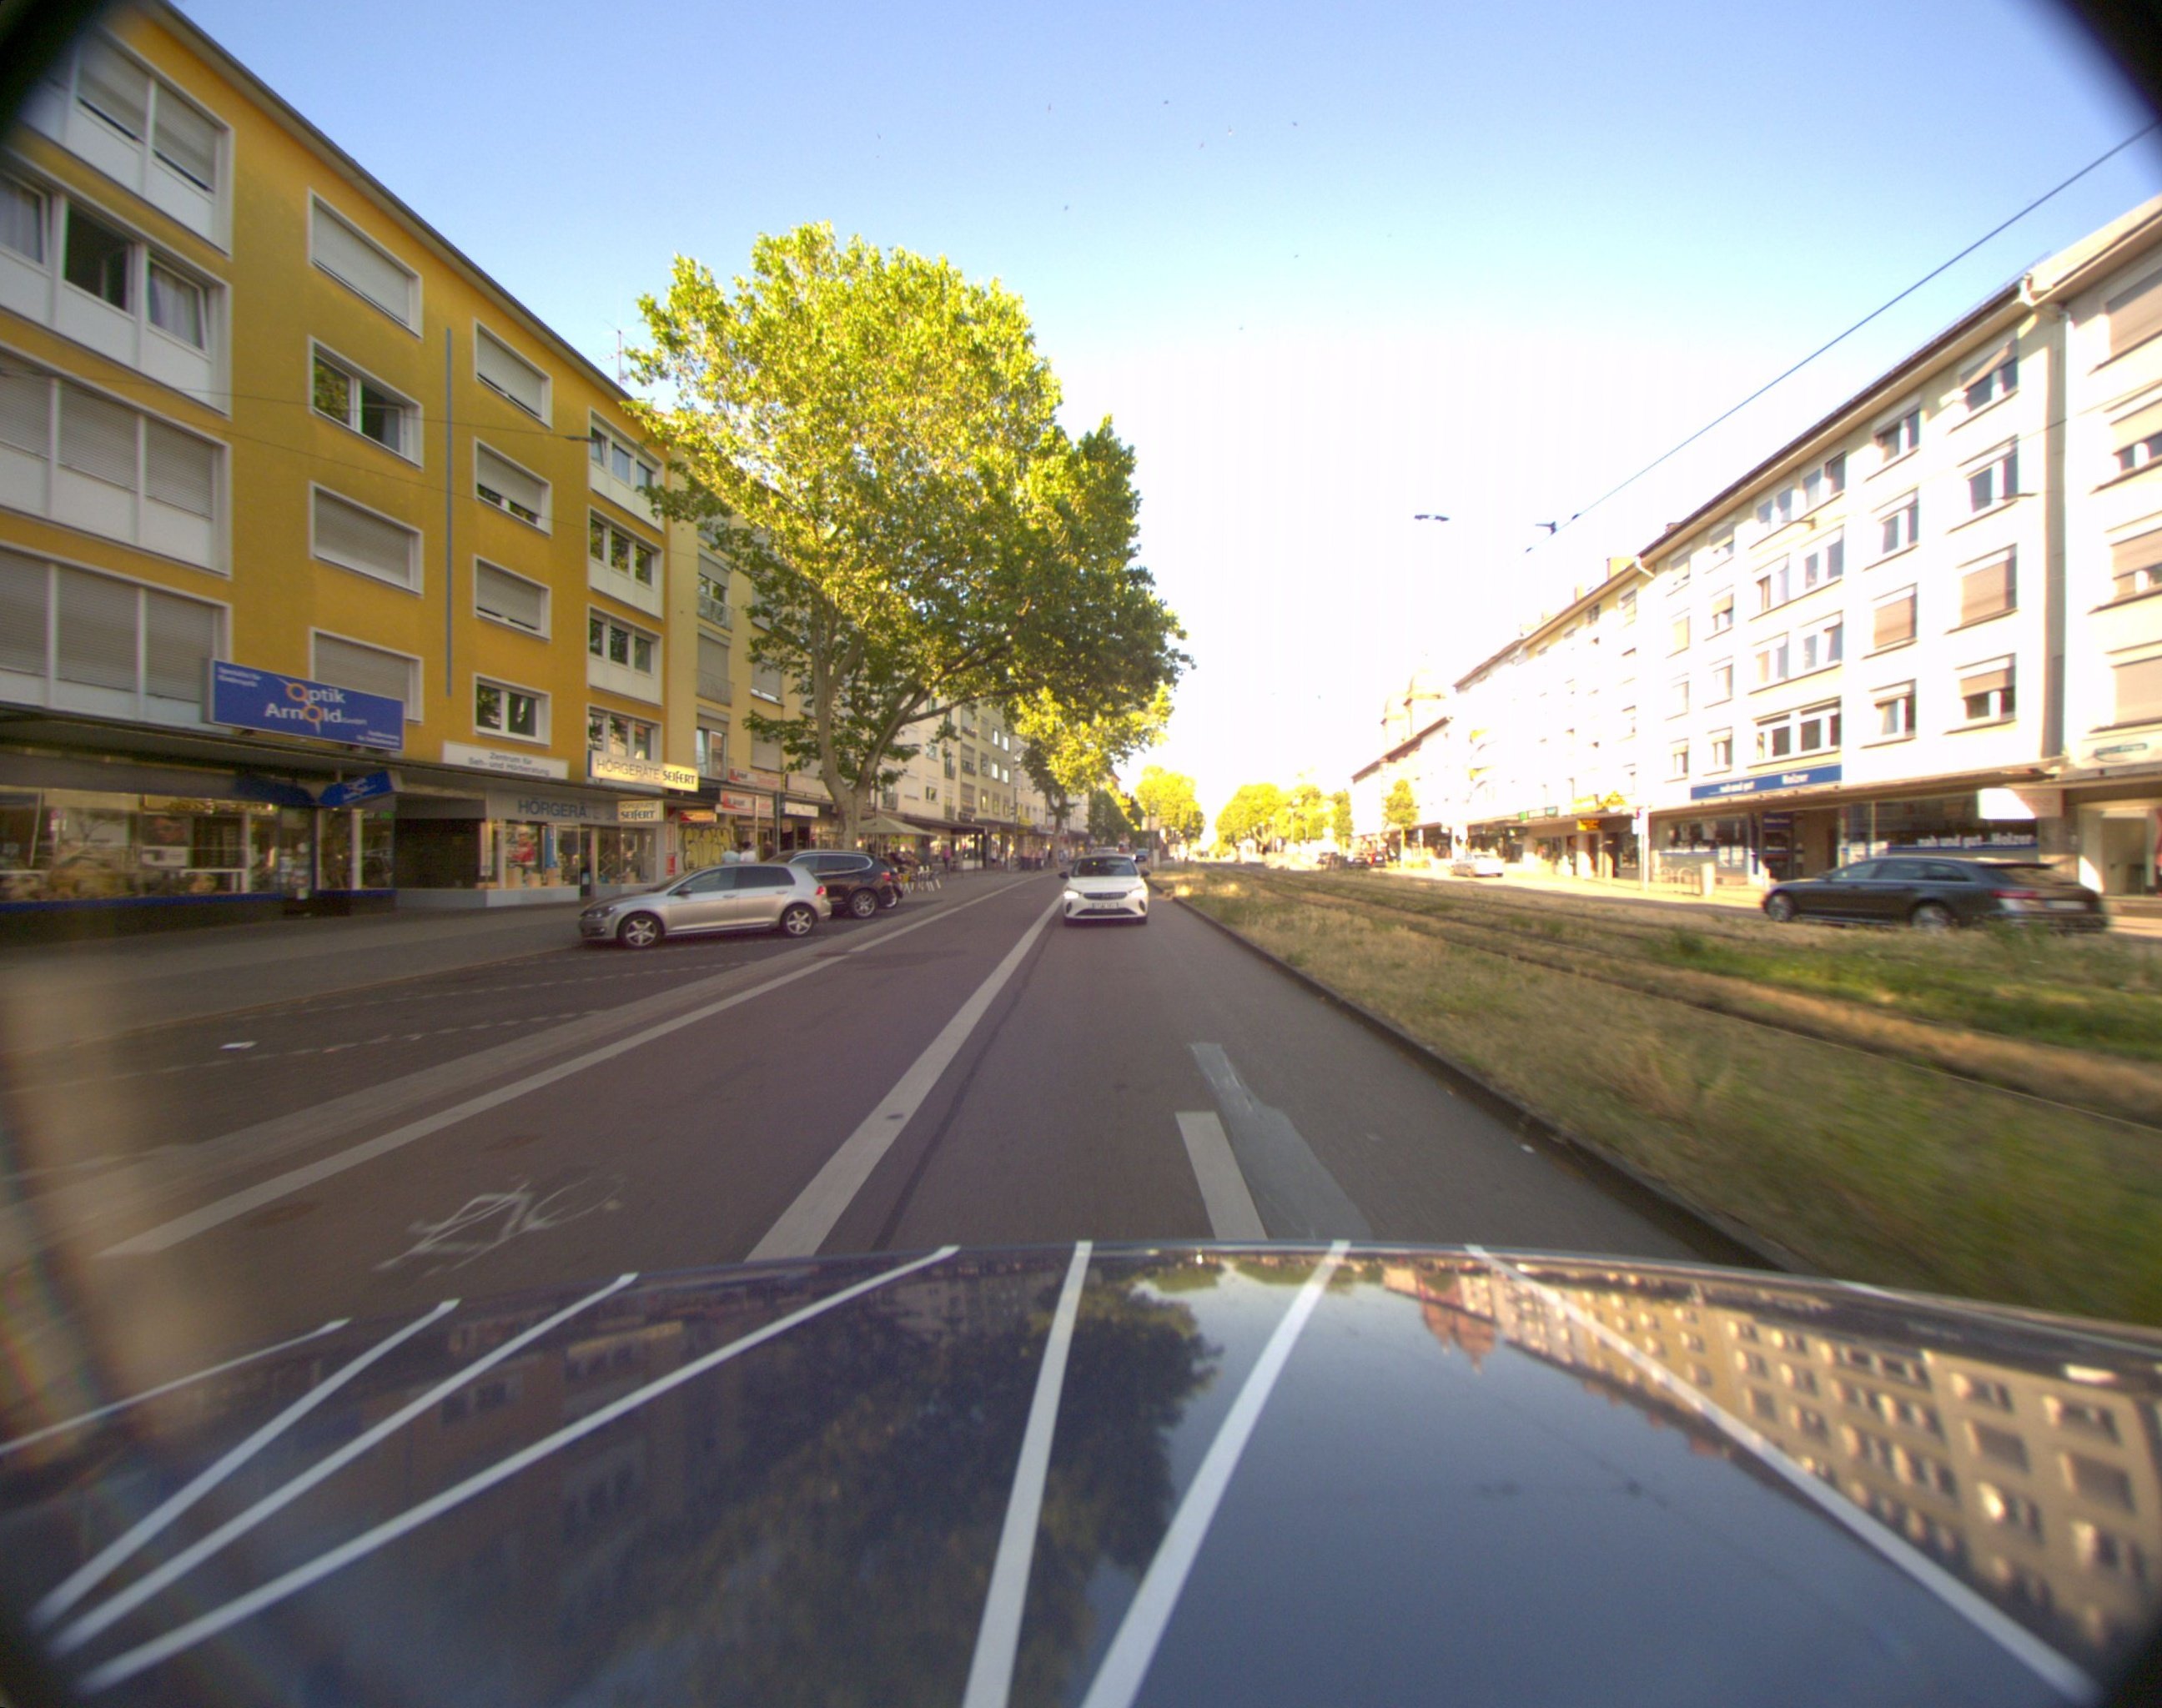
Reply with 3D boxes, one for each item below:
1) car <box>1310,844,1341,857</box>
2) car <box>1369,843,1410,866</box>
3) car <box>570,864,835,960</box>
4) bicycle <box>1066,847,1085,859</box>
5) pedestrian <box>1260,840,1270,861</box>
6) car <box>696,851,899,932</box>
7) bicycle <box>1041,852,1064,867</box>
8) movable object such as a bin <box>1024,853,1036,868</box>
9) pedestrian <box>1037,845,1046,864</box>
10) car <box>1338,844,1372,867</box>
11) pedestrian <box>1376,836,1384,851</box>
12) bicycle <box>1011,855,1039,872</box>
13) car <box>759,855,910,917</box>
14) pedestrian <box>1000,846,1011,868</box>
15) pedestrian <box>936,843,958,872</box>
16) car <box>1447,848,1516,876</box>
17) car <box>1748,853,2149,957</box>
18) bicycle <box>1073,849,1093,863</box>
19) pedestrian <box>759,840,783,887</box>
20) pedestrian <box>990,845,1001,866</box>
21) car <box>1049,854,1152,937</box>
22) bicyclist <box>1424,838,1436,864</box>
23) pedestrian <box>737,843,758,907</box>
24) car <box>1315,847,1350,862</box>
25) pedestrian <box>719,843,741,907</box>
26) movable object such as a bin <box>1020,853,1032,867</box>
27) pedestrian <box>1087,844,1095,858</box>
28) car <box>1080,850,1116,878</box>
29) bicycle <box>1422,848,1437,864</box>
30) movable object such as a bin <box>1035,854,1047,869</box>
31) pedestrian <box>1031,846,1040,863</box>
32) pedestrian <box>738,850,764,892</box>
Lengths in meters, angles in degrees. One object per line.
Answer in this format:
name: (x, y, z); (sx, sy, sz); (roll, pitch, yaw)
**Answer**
car: (31.298, -0.457, 97.283); (4.007, 1.477, 1.739); (-3, 1, -38)
car: (27.155, 0.059, 66.842); (3.777, 1.789, 1.859); (-3, 1, -43)
car: (-6.983, 0.962, 14.209); (4.185, 1.443, 1.805); (-1, 1, -36)
bicycle: (-0.577, -0.141, 80.445); (1.794, 1.118, 0.663); (4, 2, -18)
pedestrian: (16.484, -0.314, 68.156); (0.743, 1.838, 0.590); (0, 1, 3)
car: (-6.662, 0.791, 18.100); (4.159, 1.671, 1.804); (-1, 1, -39)
bicycle: (-2.243, 0.446, 60.374); (1.720, 1.111, 0.745); (0, 4, 9)
movable object such as a bin: (-3.938, 0.480, 58.299); (0.723, 1.066, 0.644); (7, 2, 6)
pedestrian: (-3.519, 0.035, 67.086); (0.547, 1.619, 0.896); (2, 0, 9)
car: (19.081, 0.083, 53.024); (1.725, 1.500, 3.478); (0, 1, 11)
pedestrian: (37.351, -1.310, 94.814); (0.743, 1.838, 0.590); (0, 1, 3)
bicycle: (-3.999, 0.657, 54.238); (1.909, 1.099, 0.519); (2, 2, 15)
car: (-6.848, 0.811, 21.232); (3.615, 1.531, 1.737); (-1, 1, -39)
pedestrian: (-5.694, 0.209, 57.185); (0.636, 1.577, 0.627); (2, 1, 7)
pedestrian: (-8.409, 0.218, 47.746); (0.969, 1.753, 1.134); (1, 2, 9)
car: (22.794, 0.413, 43.434); (1.998, 1.470, 4.412); (-2, 1, 6)
car: (15.405, 0.777, 14.053); (1.998, 1.550, 4.774); (0, 1, 1)
bicycle: (0.216, 0.170, 79.253); (1.788, 1.304, 0.695); (6, 2, 21)
pedestrian: (-12.102, 0.360, 29.647); (0.635, 1.793, 0.628); (1, 2, 38)
pedestrian: (-6.413, 0.122, 57.178); (0.623, 1.577, 0.627); (2, 1, 7)
car: (0.412, 0.762, 15.747); (1.826, 1.433, 3.828); (-2, 0, 1)
bicyclist: (26.351, -0.226, 57.401); (0.693, 1.876, 1.059); (-1, 2, 18)
pedestrian: (-9.641, 0.589, 21.962); (0.518, 1.822, 0.474); (-1, 1, -26)
car: (29.794, 0.061, 89.989); (4.007, 1.521, 1.865); (-2, 1, -36)
pedestrian: (-10.141, 0.605, 21.963); (0.518, 1.822, 0.474); (-1, 1, -20)
movable object such as a bin: (-4.266, 0.438, 58.960); (0.722, 1.066, 0.645); (2, 2, 27)
pedestrian: (1.244, -0.381, 97.906); (0.774, 1.789, 0.931); (3, 1, 10)
car: (1.010, 0.522, 42.695); (1.717, 1.390, 4.001); (-2, 1, 5)
bicycle: (26.535, 0.120, 57.898); (0.706, 1.152, 2.200); (-1, 2, 17)
movable object such as a bin: (-3.076, 0.597, 58.253); (0.723, 1.096, 0.645); (4, 3, 15)
pedestrian: (-4.051, 0.063, 67.744); (0.541, 1.493, 0.896); (2, 0, 9)
pedestrian: (-12.682, 0.647, 29.187); (0.625, 1.538, 0.638); (5, 3, 32)
